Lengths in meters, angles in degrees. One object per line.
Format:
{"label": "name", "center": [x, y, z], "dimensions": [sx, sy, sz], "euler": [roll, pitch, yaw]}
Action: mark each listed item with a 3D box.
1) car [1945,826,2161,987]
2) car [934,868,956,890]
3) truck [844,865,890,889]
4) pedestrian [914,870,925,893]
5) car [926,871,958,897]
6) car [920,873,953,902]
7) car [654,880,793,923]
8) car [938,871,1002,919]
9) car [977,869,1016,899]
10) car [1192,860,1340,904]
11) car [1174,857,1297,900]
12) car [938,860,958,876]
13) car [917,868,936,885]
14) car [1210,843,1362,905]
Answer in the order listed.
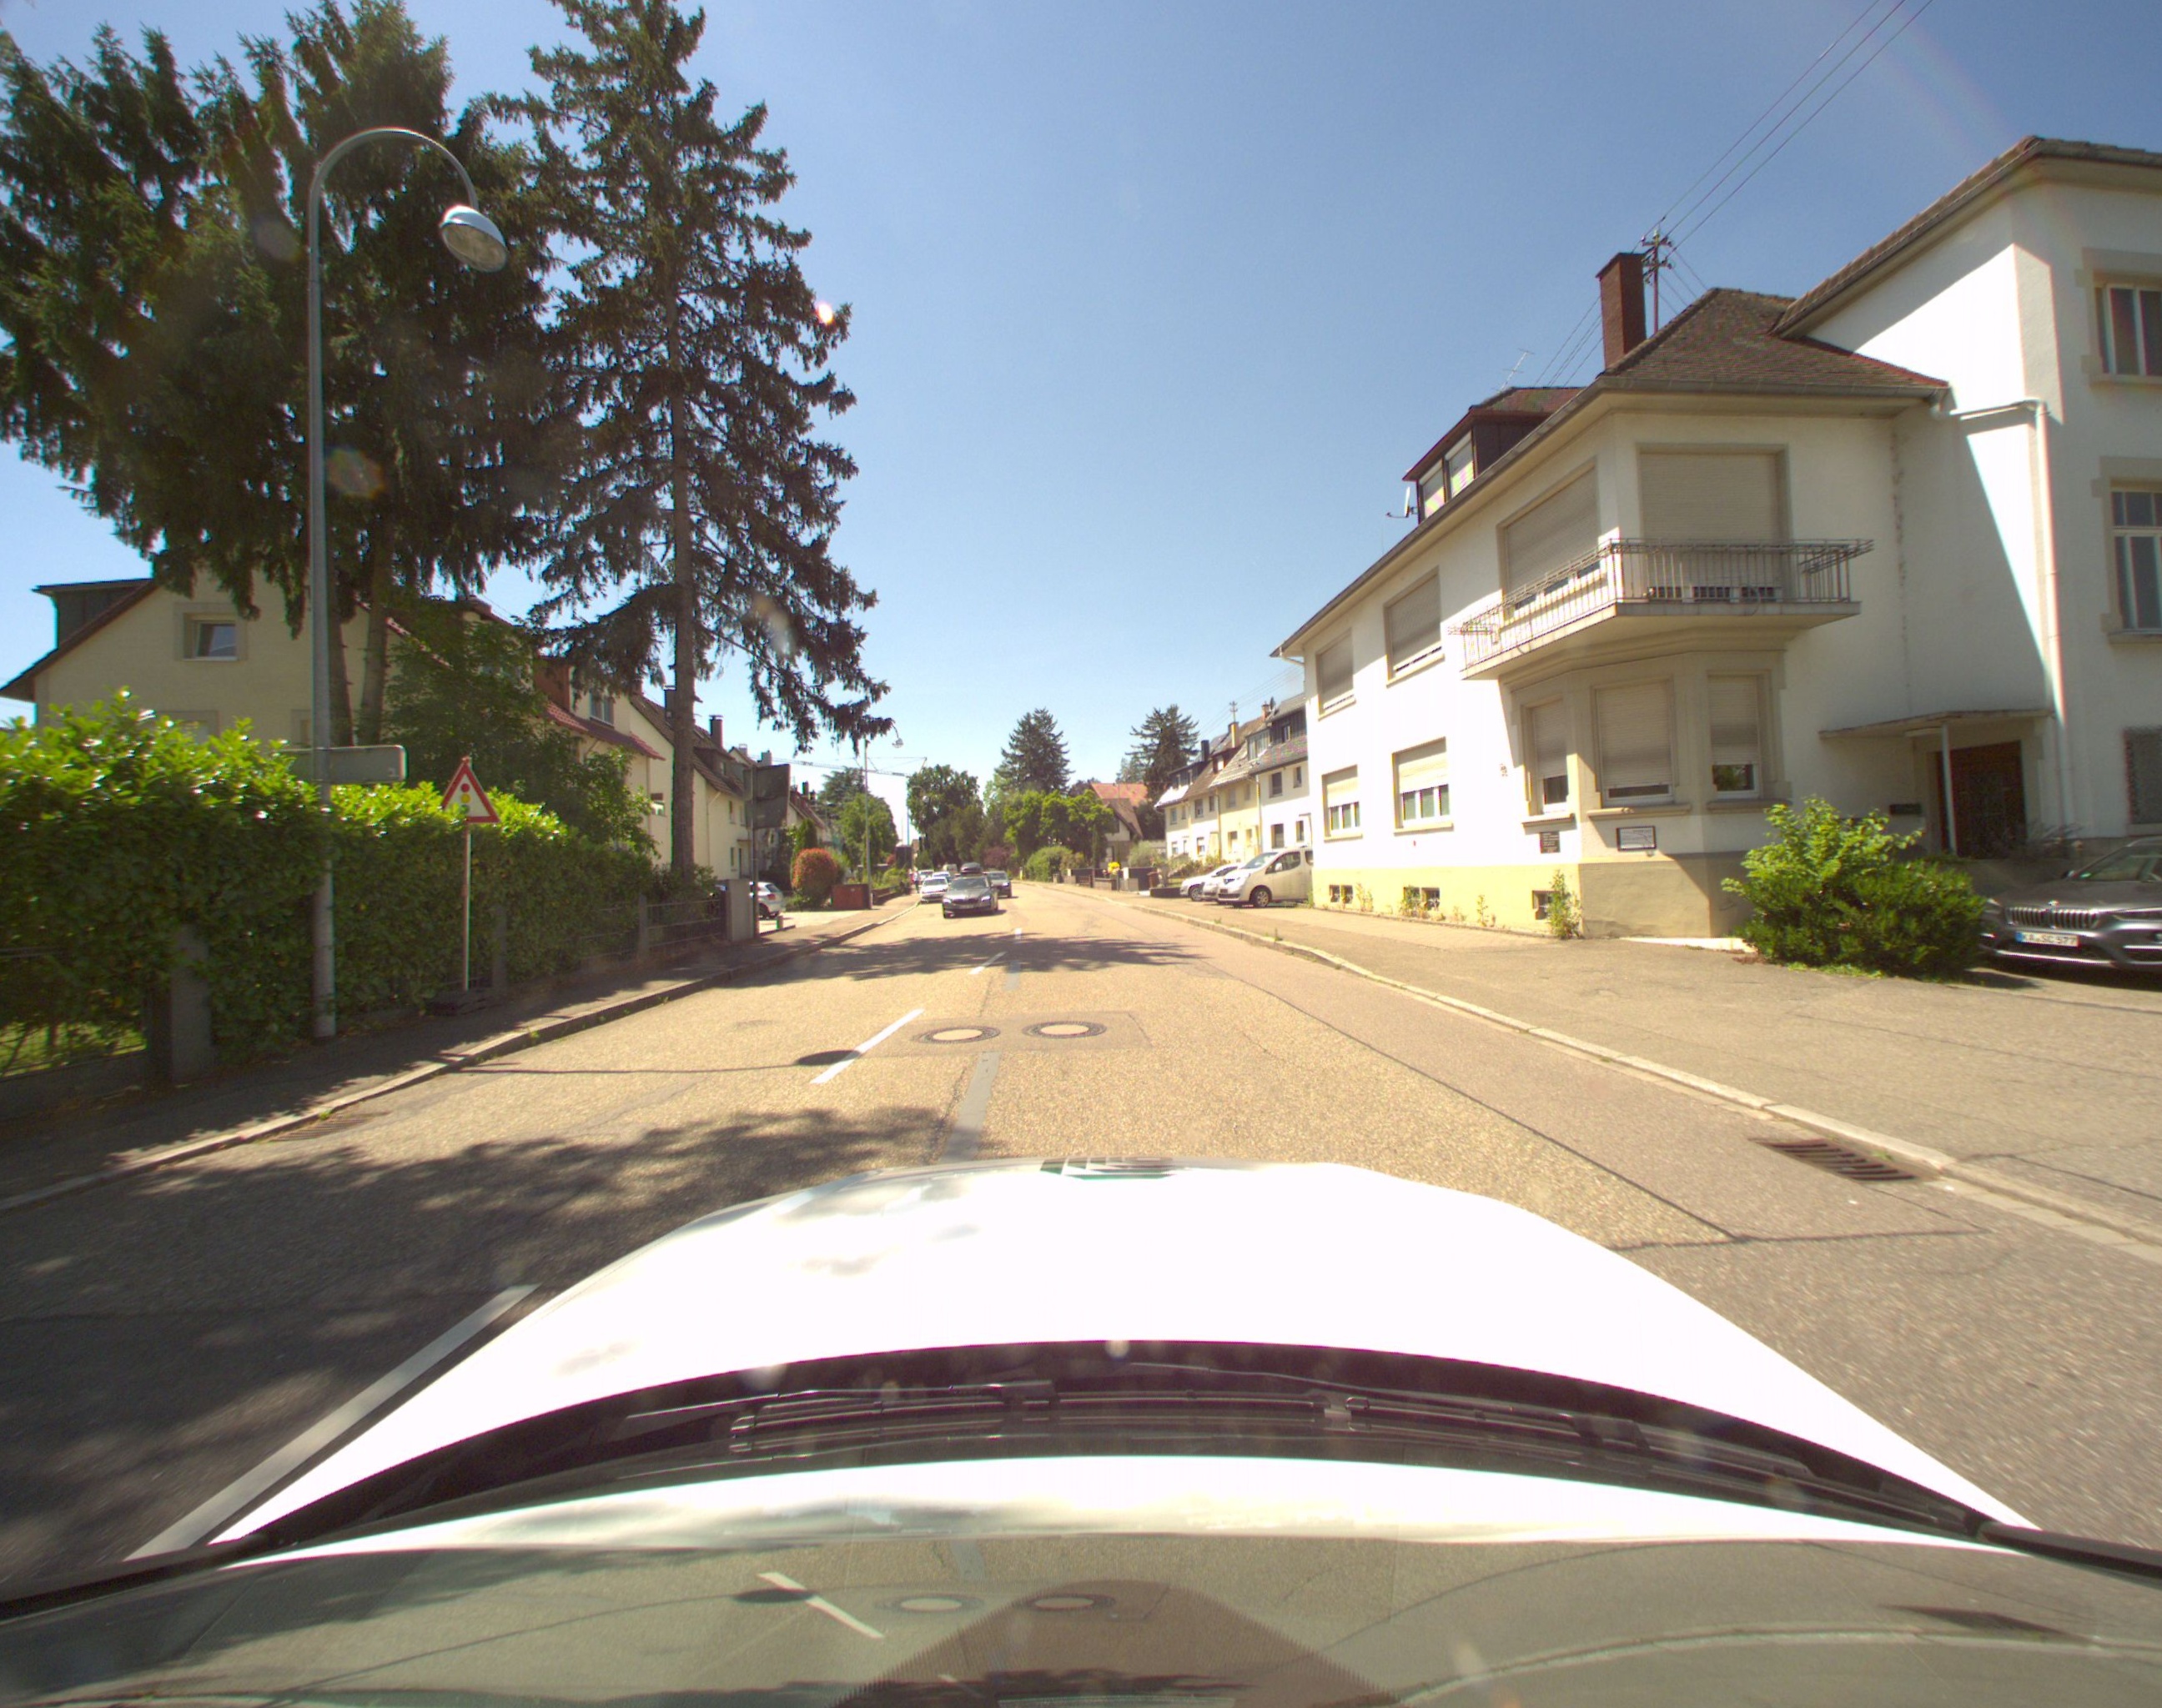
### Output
{"label": "car", "center": [12.517, 0.528, 9.108], "dimensions": [3.979, 1.592, 1.795], "euler": [0, -1, -4]}
{"label": "car", "center": [-11.915, 2.213, 71.400], "dimensions": [1.723, 1.736, 3.873], "euler": [-5, -1, -10]}
{"label": "truck", "center": [-18.943, 2.014, 72.325], "dimensions": [3.771, 1.938, 1.540], "euler": [-3, 0, -12]}
{"label": "pedestrian", "center": [-13.402, 2.254, 67.504], "dimensions": [0.688, 1.890, 1.017], "euler": [2, -2, -4]}
{"label": "car", "center": [-8.932, 1.898, 52.599], "dimensions": [1.768, 1.439, 4.350], "euler": [-4, 0, -8]}
{"label": "car", "center": [-8.195, 1.901, 46.469], "dimensions": [1.578, 1.423, 3.929], "euler": [-5, 0, -8]}
{"label": "car", "center": [-13.660, 1.803, 31.331], "dimensions": [4.458, 1.441, 1.844], "euler": [-1, -1, -4]}
{"label": "car", "center": [-4.008, 1.437, 29.959], "dimensions": [1.802, 1.488, 4.382], "euler": [-4, -1, -2]}
{"label": "car", "center": [-4.784, 1.681, 46.619], "dimensions": [1.736, 1.505, 4.140], "euler": [-4, -1, -1]}
{"label": "car", "center": [6.248, 0.941, 27.745], "dimensions": [4.633, 1.409, 1.765], "euler": [1, -1, -6]}
{"label": "car", "center": [5.827, 0.932, 30.740], "dimensions": [4.251, 1.548, 1.766], "euler": [-1, -3, 25]}
{"label": "car", "center": [-20.925, 2.208, 127.567], "dimensions": [2.151, 2.315, 4.820], "euler": [-4, 0, -20]}
{"label": "car", "center": [-19.543, 2.832, 102.873], "dimensions": [1.890, 1.881, 4.953], "euler": [-3, 0, -16]}
{"label": "car", "center": [6.318, 0.631, 25.226], "dimensions": [4.297, 1.831, 1.730], "euler": [1, -1, -15]}
